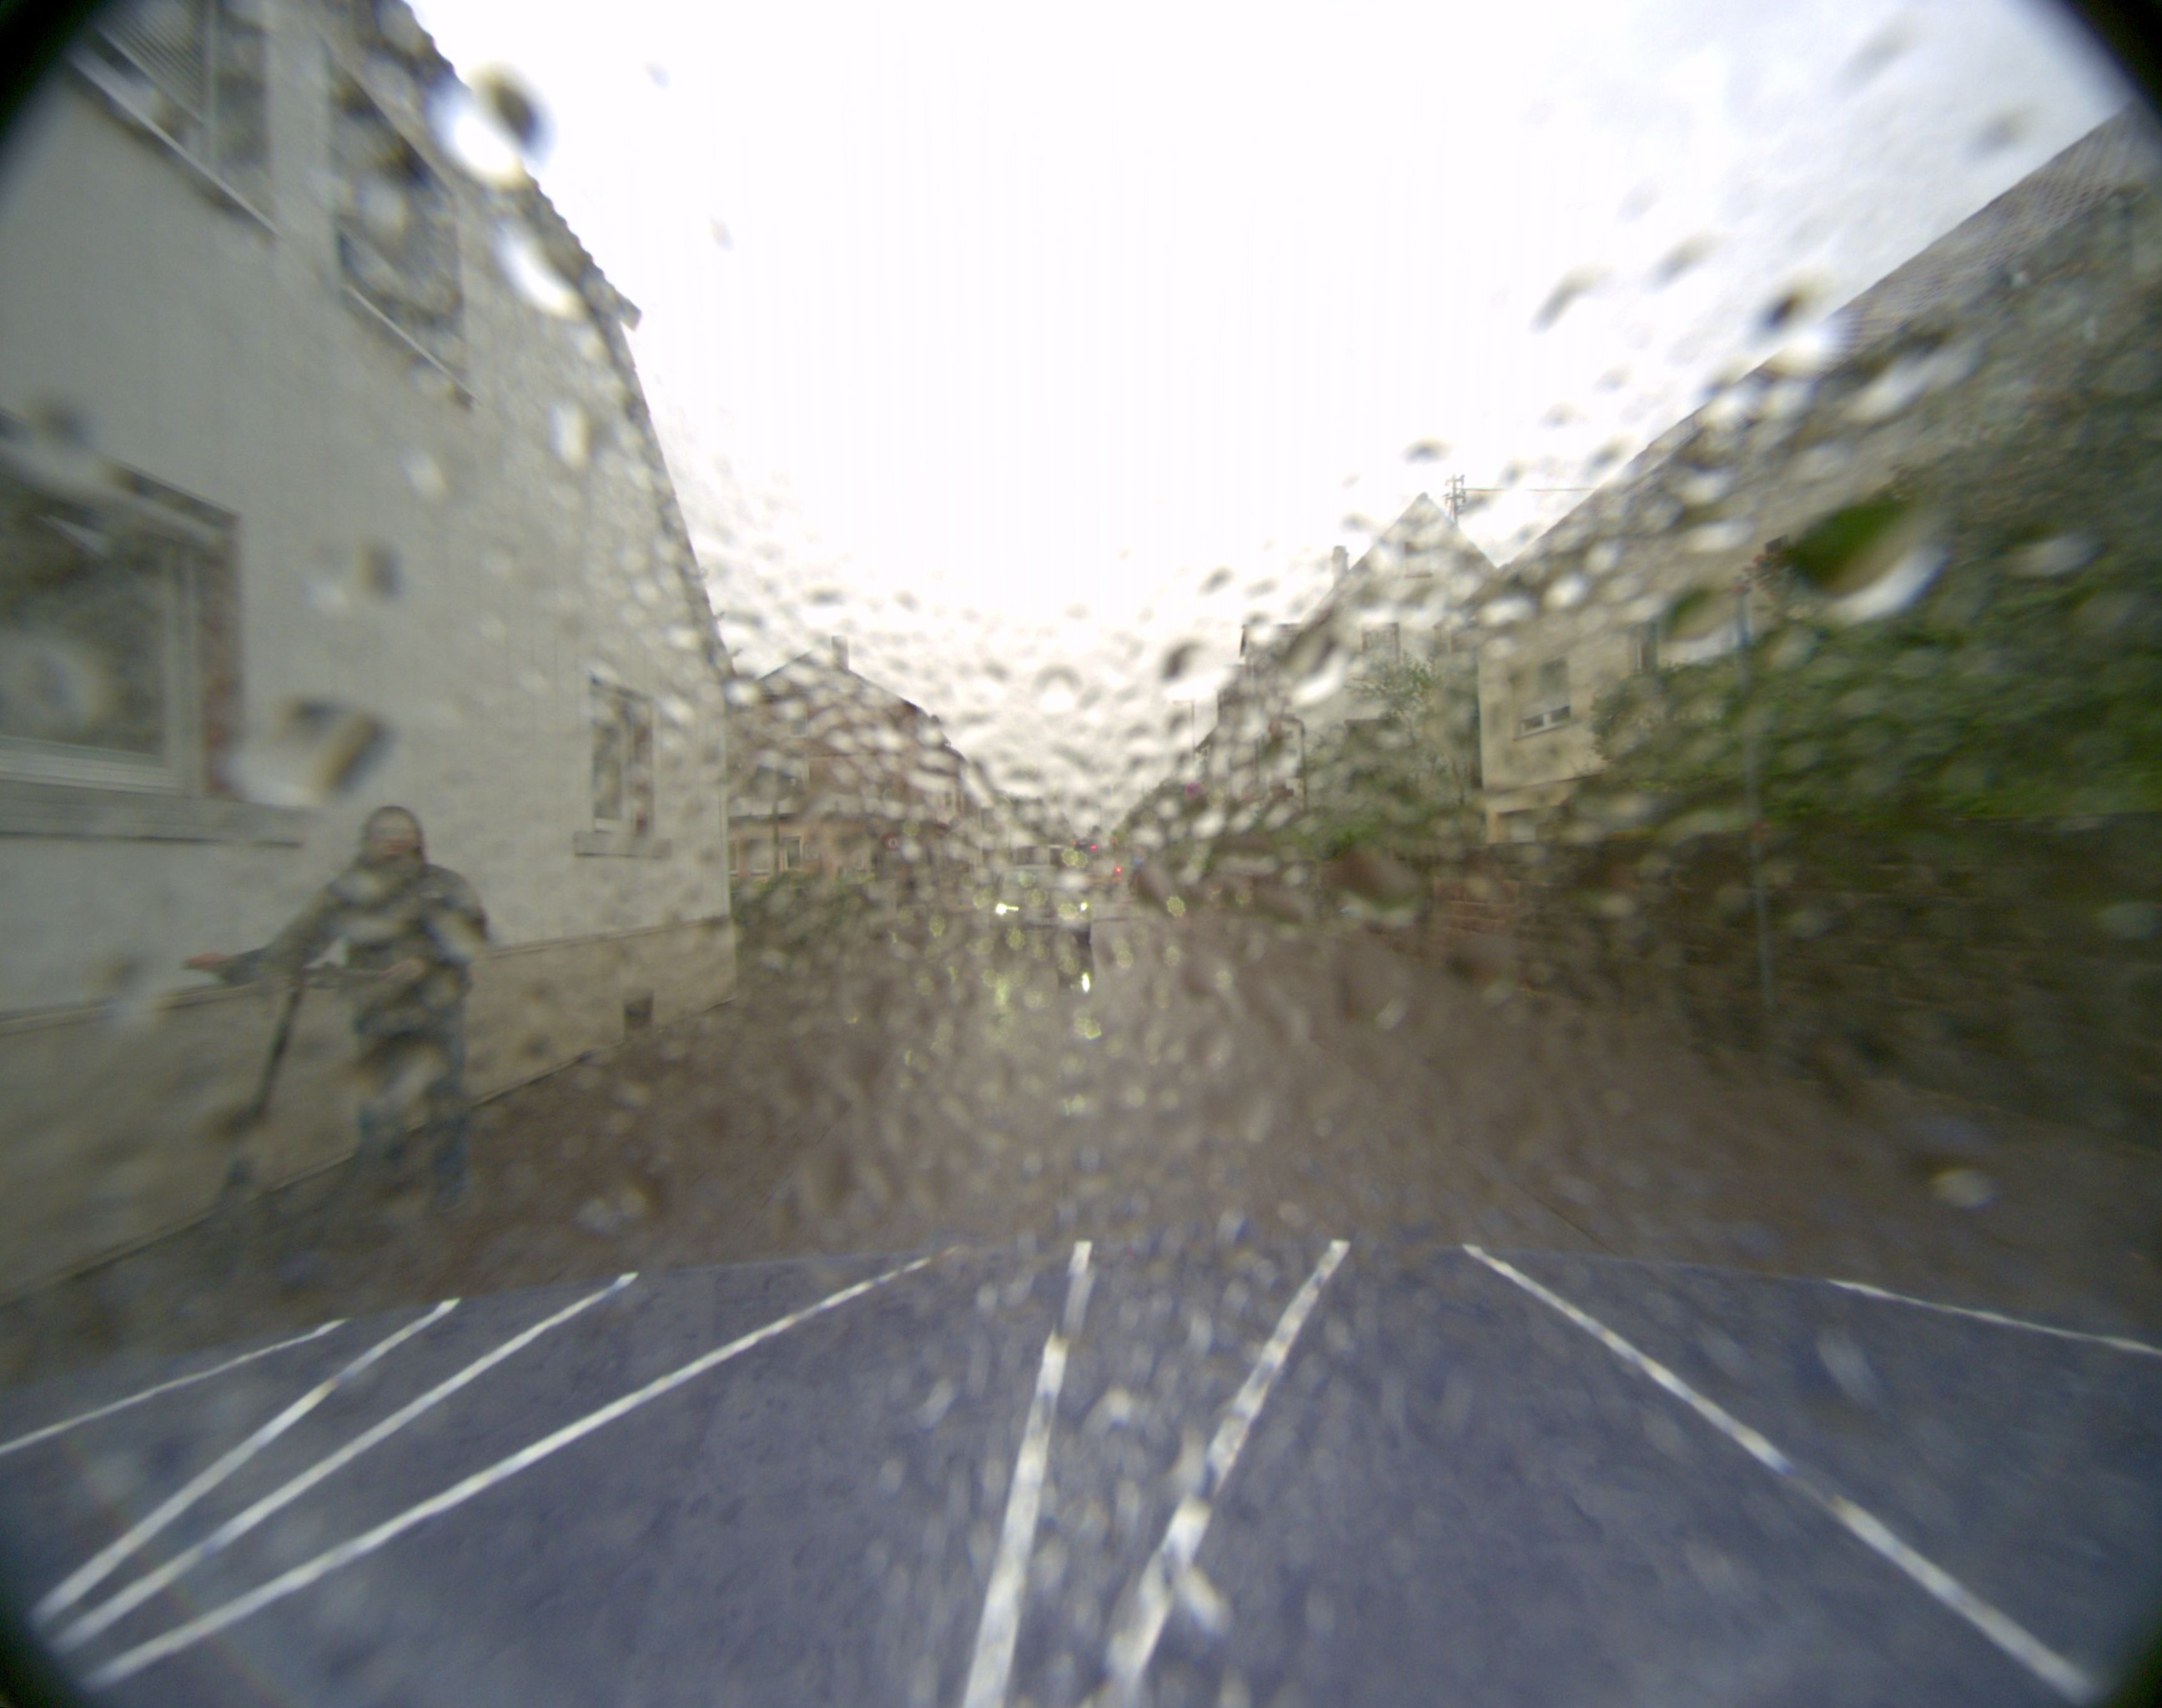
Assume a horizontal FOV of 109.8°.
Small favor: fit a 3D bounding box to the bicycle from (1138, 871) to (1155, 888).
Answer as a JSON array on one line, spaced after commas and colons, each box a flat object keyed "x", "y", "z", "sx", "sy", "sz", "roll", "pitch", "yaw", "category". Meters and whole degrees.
[{"x": 3.533, "y": 1.408, "z": 41.168, "sx": 0.663, "sy": 0.865, "sz": 1.935, "roll": -4, "pitch": -2, "yaw": -1, "category": "bicycle"}]

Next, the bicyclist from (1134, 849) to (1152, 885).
[{"x": 3.041, "y": 0.614, "z": 37.120, "sx": 0.689, "sy": 1.703, "sz": 0.703, "roll": -4, "pitch": 1, "yaw": -2, "category": "bicyclist"}]

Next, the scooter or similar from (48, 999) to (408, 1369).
[{"x": -3.303, "y": 1.194, "z": 3.059, "sx": 0.246, "sy": 1.022, "sz": 1.100, "roll": 0, "pitch": 0, "yaw": -2, "category": "scooter or similar"}]

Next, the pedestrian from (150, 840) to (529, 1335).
[{"x": -2.886, "y": 0.815, "z": 3.066, "sx": 0.696, "sy": 1.722, "sz": 0.821, "roll": -1, "pitch": 0, "yaw": -2, "category": "pedestrian"}]

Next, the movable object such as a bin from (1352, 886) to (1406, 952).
[{"x": 4.558, "y": 0.985, "z": 11.651, "sx": 0.539, "sy": 0.925, "sz": 0.544, "roll": -4, "pitch": 1, "yaw": -4, "category": "movable object such as a bin"}]

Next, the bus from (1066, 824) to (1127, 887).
[{"x": 0.980, "y": 0.114, "z": 43.153, "sx": 2.813, "sy": 2.921, "sz": 11.944, "roll": -4, "pitch": -1, "yaw": 2, "category": "bus"}]

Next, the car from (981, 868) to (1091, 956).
[{"x": -0.818, "y": 1.029, "z": 15.039, "sx": 1.780, "sy": 1.348, "sz": 4.188, "roll": -4, "pitch": 0, "yaw": -2, "category": "car"}]

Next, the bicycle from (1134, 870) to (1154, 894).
[{"x": 3.051, "y": 1.351, "z": 37.107, "sx": 0.682, "sy": 1.044, "sz": 2.338, "roll": -1, "pitch": 0, "yaw": -2, "category": "bicycle"}]

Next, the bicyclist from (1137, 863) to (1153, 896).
[{"x": 3.488, "y": 1.381, "z": 41.270, "sx": 0.658, "sy": 1.759, "sz": 0.703, "roll": -4, "pitch": -2, "yaw": -2, "category": "bicyclist"}]

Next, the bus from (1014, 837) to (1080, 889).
[{"x": -2.347, "y": 0.600, "z": 58.813, "sx": 3.440, "sy": 3.391, "sz": 13.874, "roll": -2, "pitch": 0, "yaw": 4, "category": "bus"}]
